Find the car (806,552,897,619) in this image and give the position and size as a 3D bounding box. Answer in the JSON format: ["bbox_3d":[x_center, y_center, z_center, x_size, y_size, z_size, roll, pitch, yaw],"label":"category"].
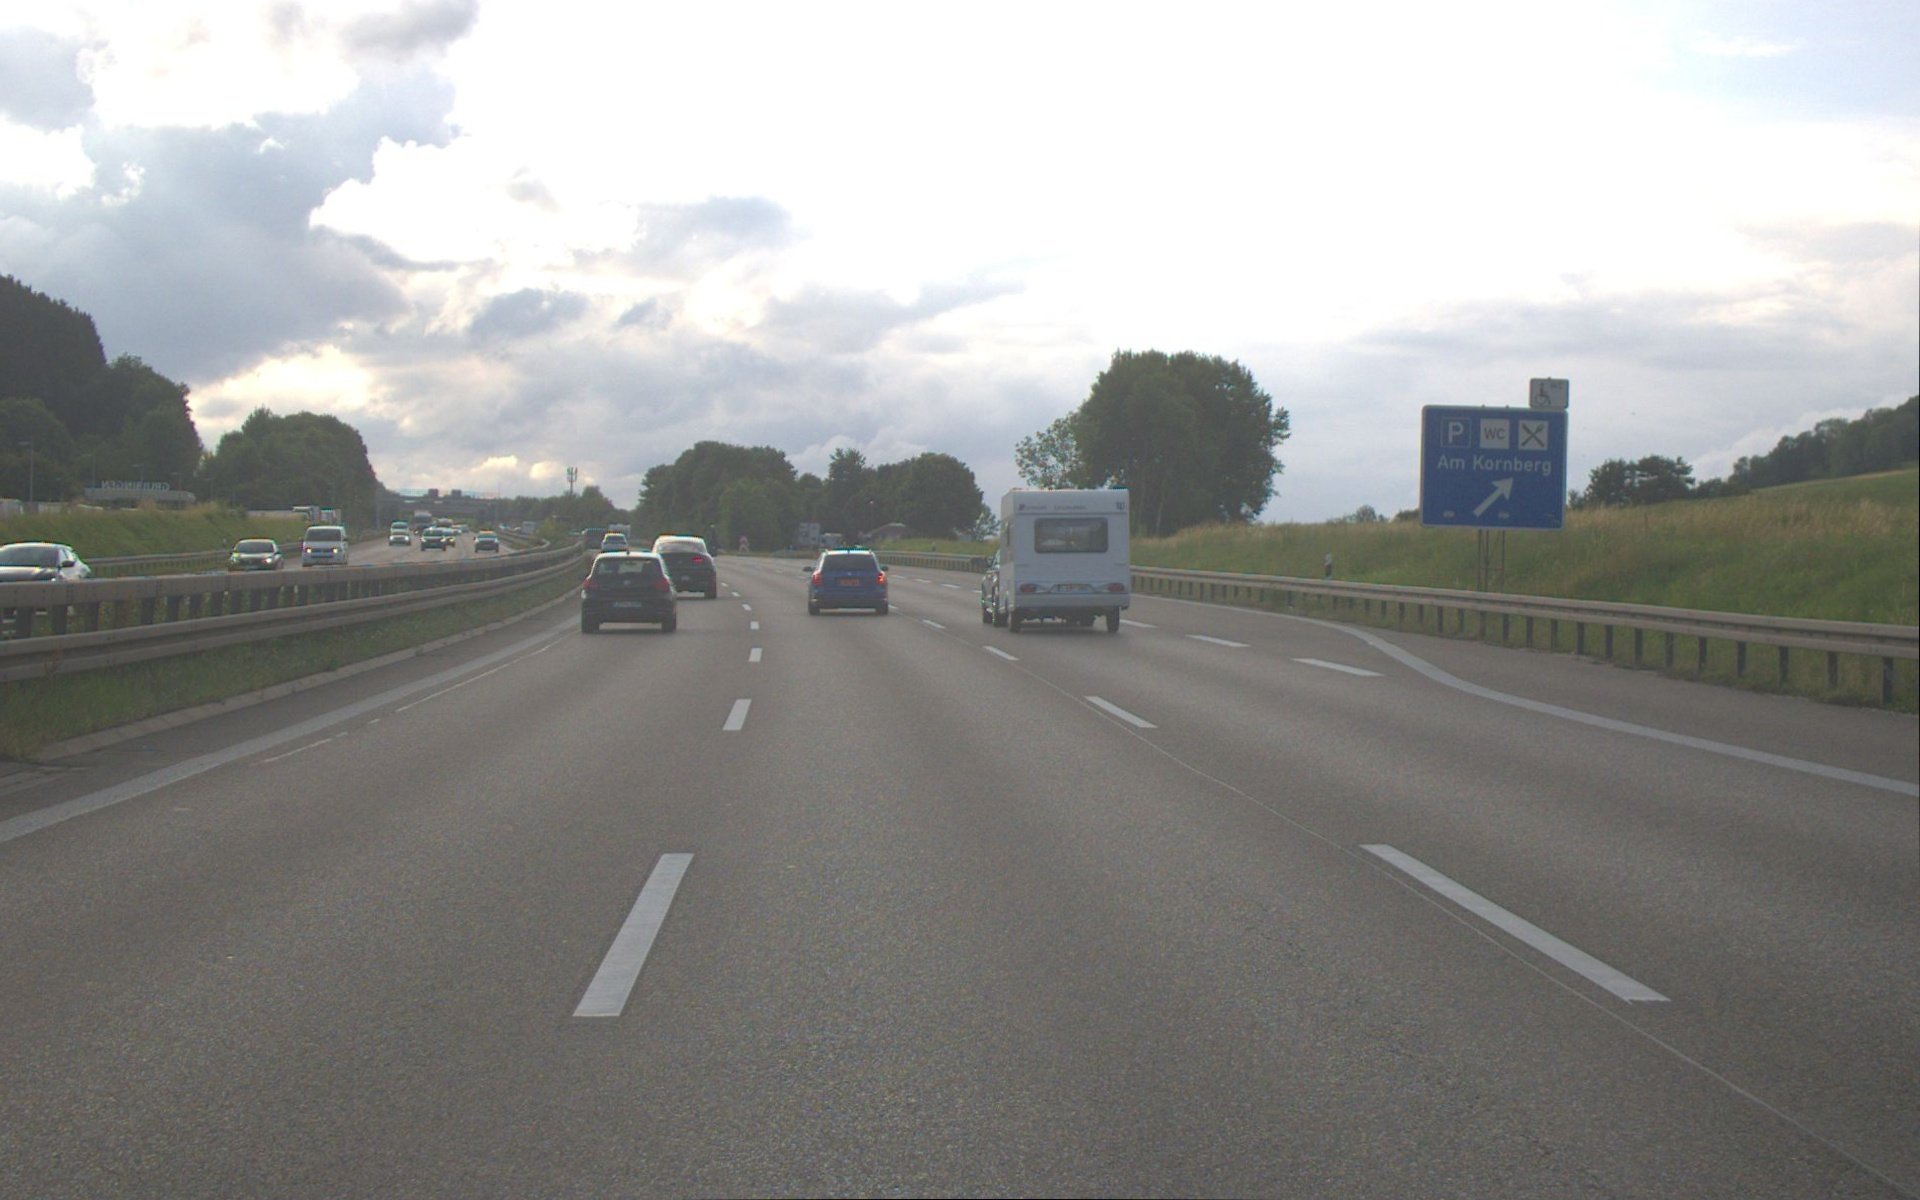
[{"bbox_3d":[-2.449,-0.339,76.789,1.766,1.428,4.001,-1,1,-5],"label":"car"}]

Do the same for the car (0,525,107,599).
[{"bbox_3d":[-19.593,-0.793,73.104,1.993,1.492,4.693,-1,0,-3],"label":"car"}]

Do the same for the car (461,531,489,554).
[{"bbox_3d":[-35.166,-4.164,249.353,1.807,1.608,4.342,1,0,-6],"label":"car"}]

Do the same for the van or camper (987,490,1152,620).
[{"bbox_3d":[1.915,-0.773,62.123,2.547,2.232,5.329,0,0,-3],"label":"van or camper"}]

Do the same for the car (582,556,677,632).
[{"bbox_3d":[-6.013,-0.121,62.818,1.538,1.343,3.677,0,0,-3],"label":"car"}]

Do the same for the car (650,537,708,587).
[{"bbox_3d":[-7.879,-1.072,96.124,1.565,1.375,4.001,0,1,-5],"label":"car"}]

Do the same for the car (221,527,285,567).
[{"bbox_3d":[-26.445,-1.983,128.771,1.993,1.492,4.693,0,1,-7],"label":"car"}]

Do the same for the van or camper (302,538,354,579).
[{"bbox_3d":[-29.220,-1.916,159.009,1.915,1.867,4.756,0,1,-5],"label":"van or camper"}]

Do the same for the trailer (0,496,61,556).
[{"bbox_3d":[-59.554,-4.685,219.391,2.876,3.683,10.375,-1,1,-7],"label":"trailer"}]

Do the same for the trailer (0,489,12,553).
[{"bbox_3d":[-56.572,-4.539,197.004,2.876,3.683,10.375,-1,1,-7],"label":"trailer"}]
